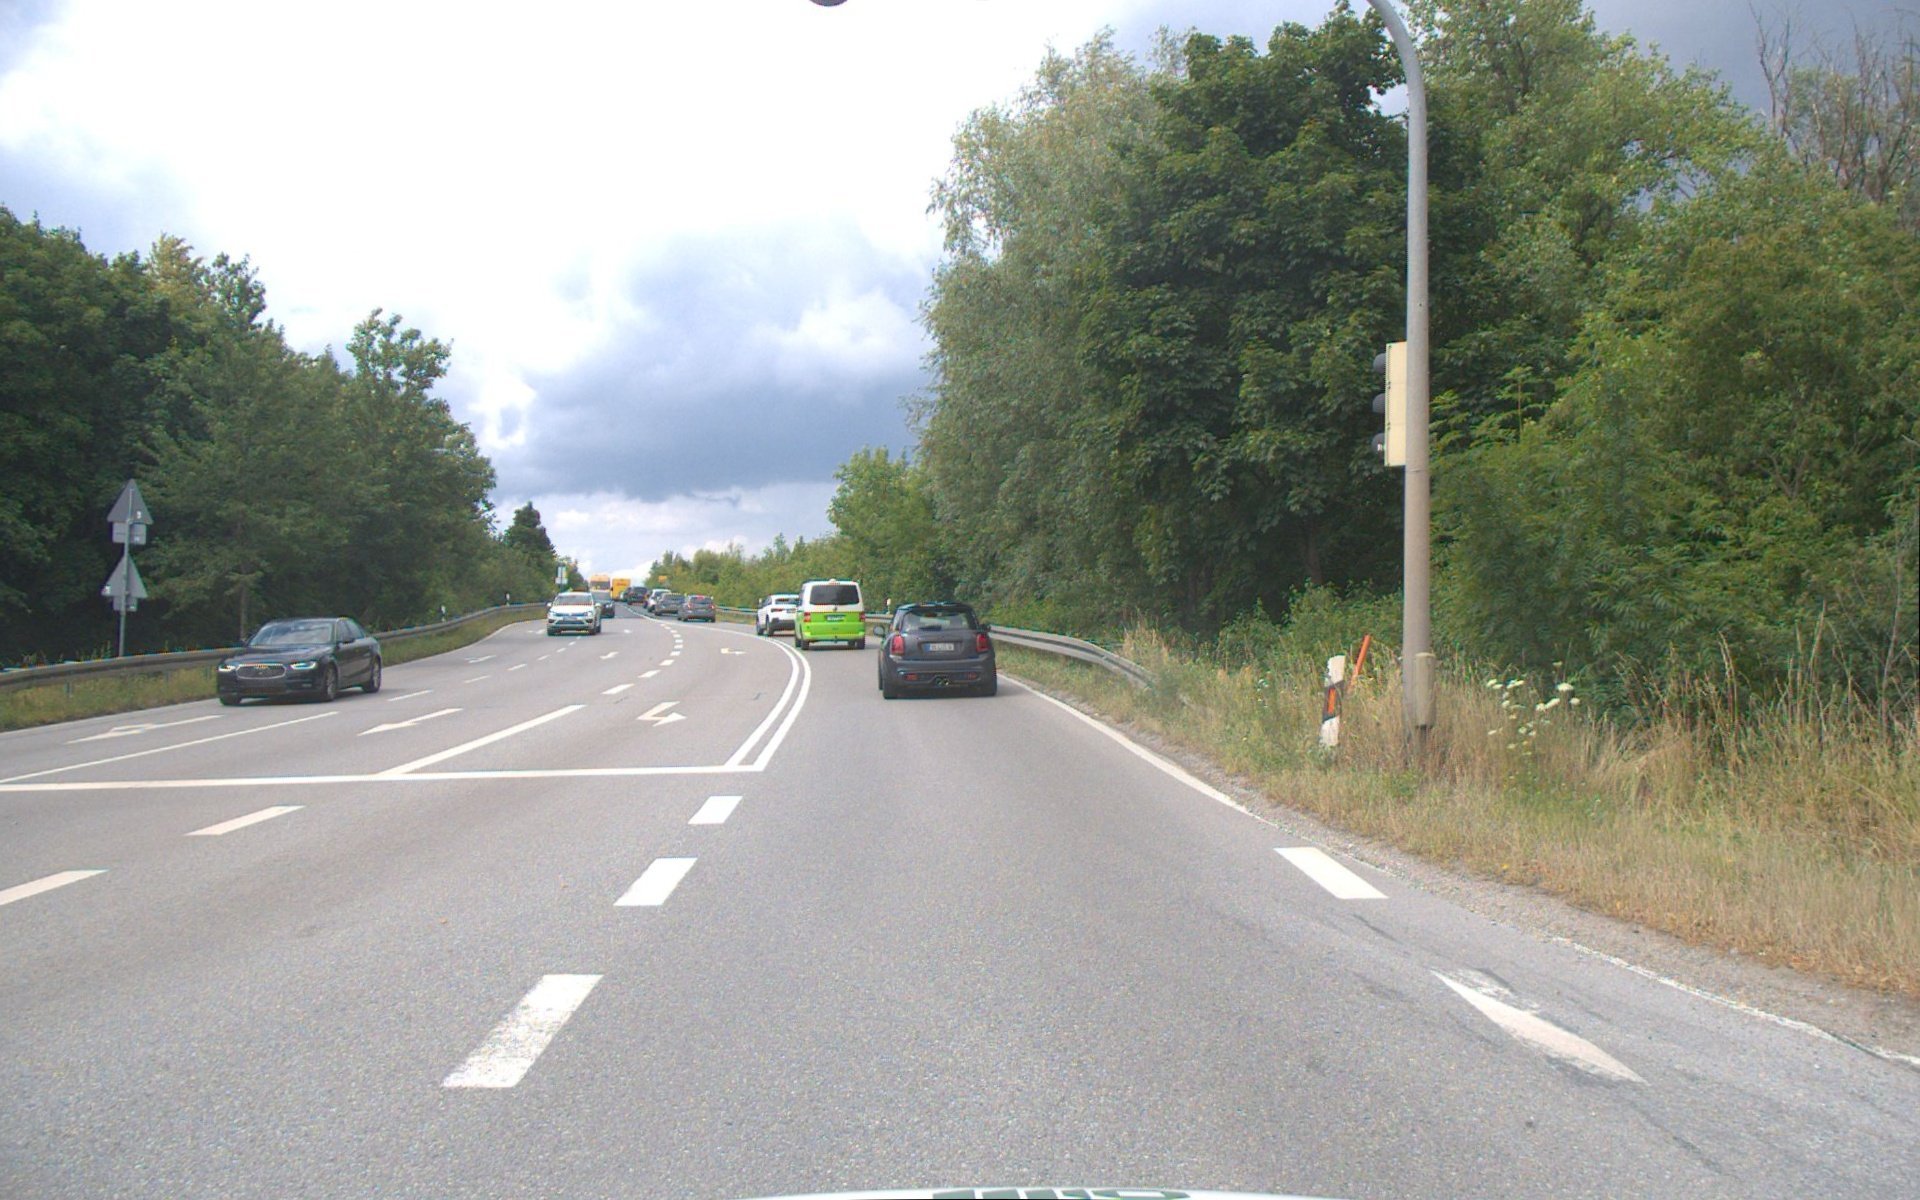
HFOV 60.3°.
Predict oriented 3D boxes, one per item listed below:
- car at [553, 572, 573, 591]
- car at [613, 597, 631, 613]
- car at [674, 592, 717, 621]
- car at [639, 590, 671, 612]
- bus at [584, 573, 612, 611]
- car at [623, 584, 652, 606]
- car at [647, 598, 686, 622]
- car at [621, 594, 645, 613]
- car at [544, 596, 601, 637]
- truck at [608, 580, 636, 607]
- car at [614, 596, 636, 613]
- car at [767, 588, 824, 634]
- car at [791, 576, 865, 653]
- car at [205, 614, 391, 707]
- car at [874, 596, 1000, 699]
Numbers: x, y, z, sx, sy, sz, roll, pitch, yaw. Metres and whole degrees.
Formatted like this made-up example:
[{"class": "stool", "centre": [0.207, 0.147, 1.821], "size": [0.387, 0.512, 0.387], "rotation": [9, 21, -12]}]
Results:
[{"class": "car", "centre": [-43.338, -2.033, 180.685], "size": [1.958, 2.049, 3.989], "rotation": [0, 0, -11]}, {"class": "car", "centre": [-40.360, 0.617, 197.402], "size": [1.959, 1.818, 4.470], "rotation": [0, -1, -13]}, {"class": "car", "centre": [-14.860, 0.369, 92.795], "size": [1.960, 1.502, 4.468], "rotation": [2, -1, -15]}, {"class": "car", "centre": [-22.302, 0.068, 120.980], "size": [1.960, 1.502, 4.468], "rotation": [2, -1, -14]}, {"class": "bus", "centre": [-32.396, -0.695, 147.965], "size": [1.961, 3.360, 7.397], "rotation": [1, 0, -16]}, {"class": "car", "centre": [-26.873, -0.404, 137.885], "size": [1.961, 1.725, 4.465], "rotation": [2, -1, -16]}, {"class": "car", "centre": [-19.050, 0.657, 107.114], "size": [1.962, 1.502, 4.465], "rotation": [2, -1, -17]}, {"class": "car", "centre": [-31.439, 0.393, 158.945], "size": [1.960, 1.725, 4.467], "rotation": [2, -1, -15]}, {"class": "car", "centre": [-15.807, 0.646, 67.695], "size": [1.957, 1.641, 3.992], "rotation": [0, 0, -9]}, {"class": "truck", "centre": [-43.242, -0.766, 211.636], "size": [2.665, 2.949, 8.756], "rotation": [2, -3, -6]}, {"class": "car", "centre": [-36.220, 0.536, 178.682], "size": [1.962, 1.725, 4.464], "rotation": [2, -1, -17]}, {"class": "car", "centre": [-6.390, 0.435, 64.012], "size": [1.957, 1.713, 3.991], "rotation": [0, -1, -10]}, {"class": "car", "centre": [-3.930, 0.388, 48.693], "size": [1.811, 2.021, 3.833], "rotation": [0, 3, -10]}, {"class": "car", "centre": [-11.383, 0.990, 28.744], "size": [1.703, 1.430, 4.247], "rotation": [-1, 0, -4]}, {"class": "car", "centre": [-0.327, 0.691, 25.993], "size": [1.807, 1.453, 3.841], "rotation": [-1, 0, 0]}]
